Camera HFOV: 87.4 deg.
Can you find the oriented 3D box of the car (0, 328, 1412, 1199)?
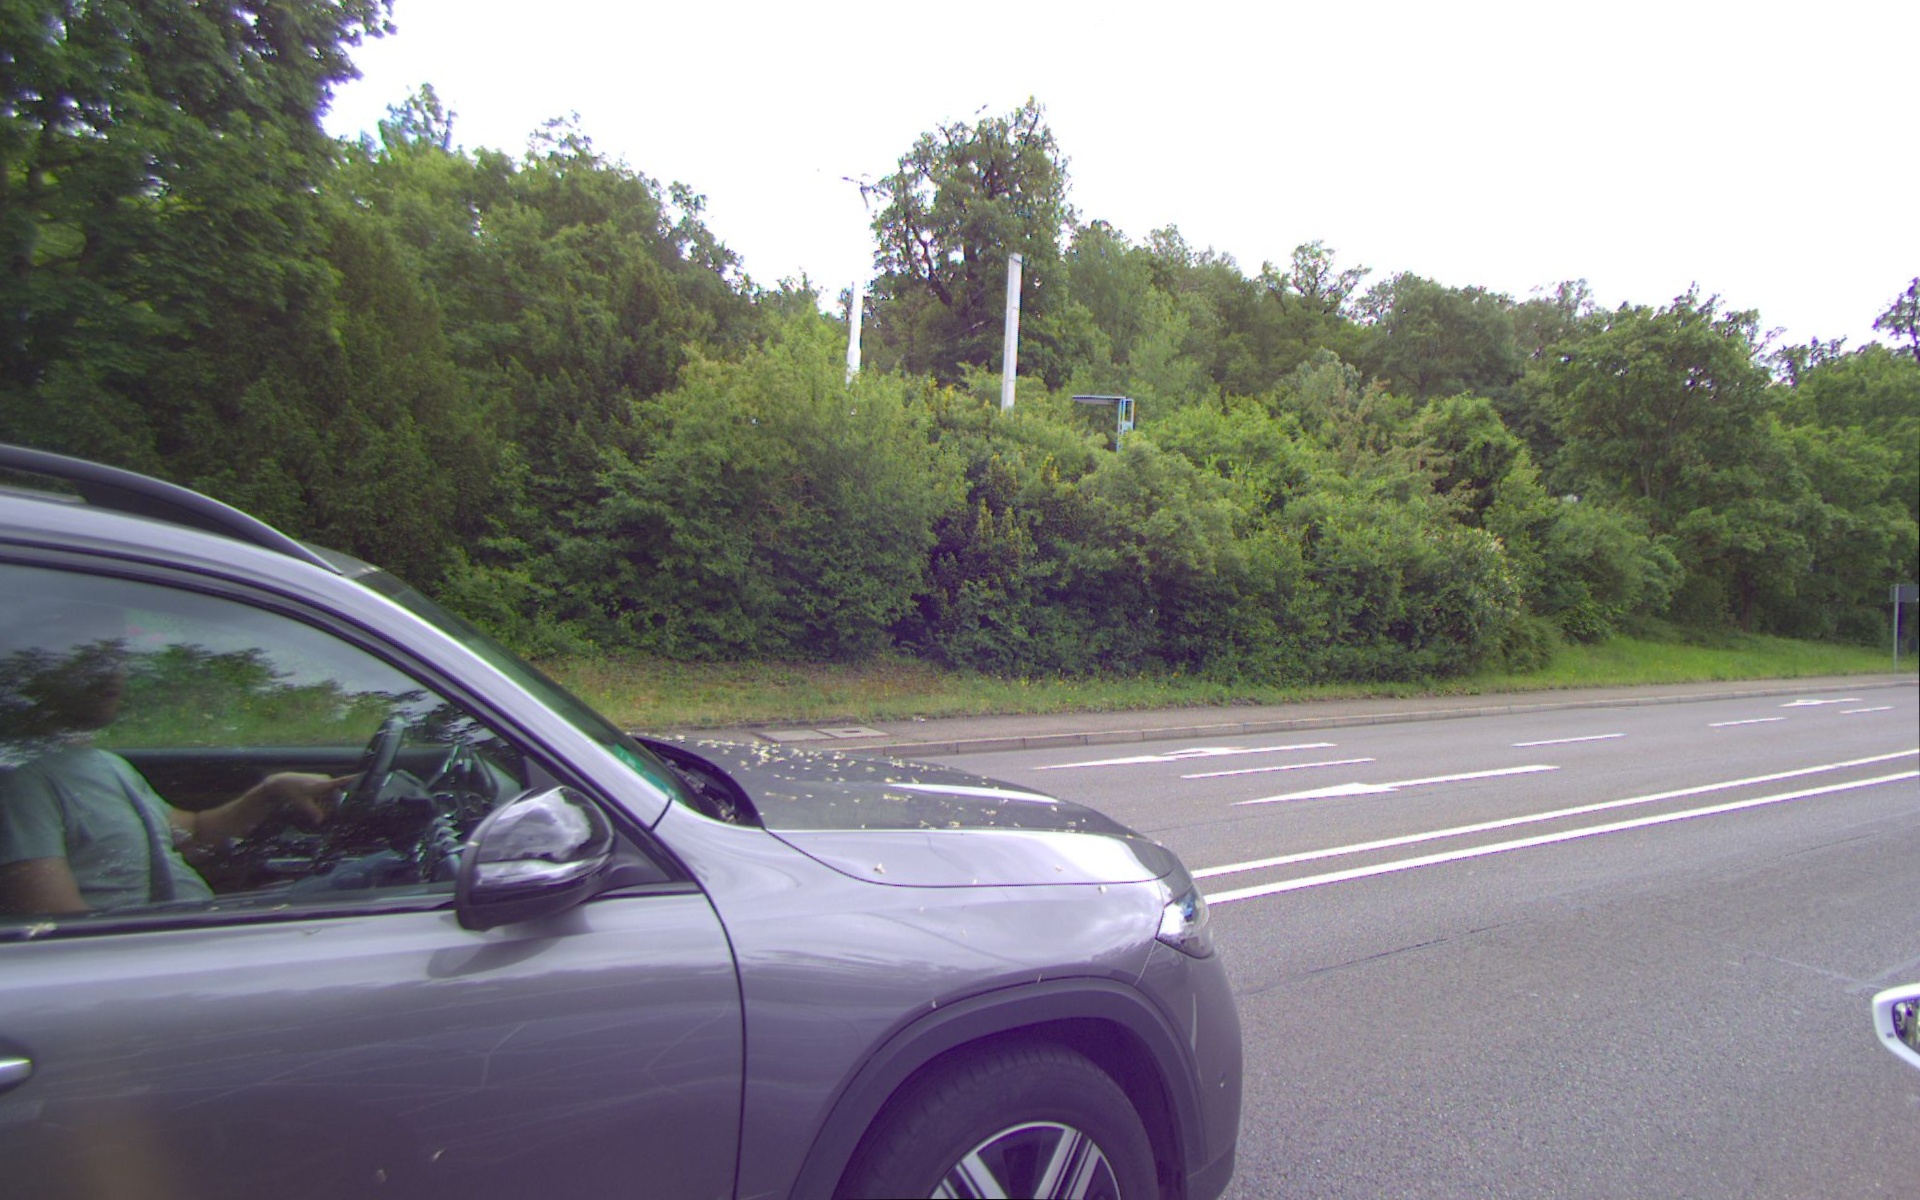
[{"bbox_3d":[-1.382,0.589,1.699,4.309,1.673,1.839,1,-1,-32],"label":"car"}]
